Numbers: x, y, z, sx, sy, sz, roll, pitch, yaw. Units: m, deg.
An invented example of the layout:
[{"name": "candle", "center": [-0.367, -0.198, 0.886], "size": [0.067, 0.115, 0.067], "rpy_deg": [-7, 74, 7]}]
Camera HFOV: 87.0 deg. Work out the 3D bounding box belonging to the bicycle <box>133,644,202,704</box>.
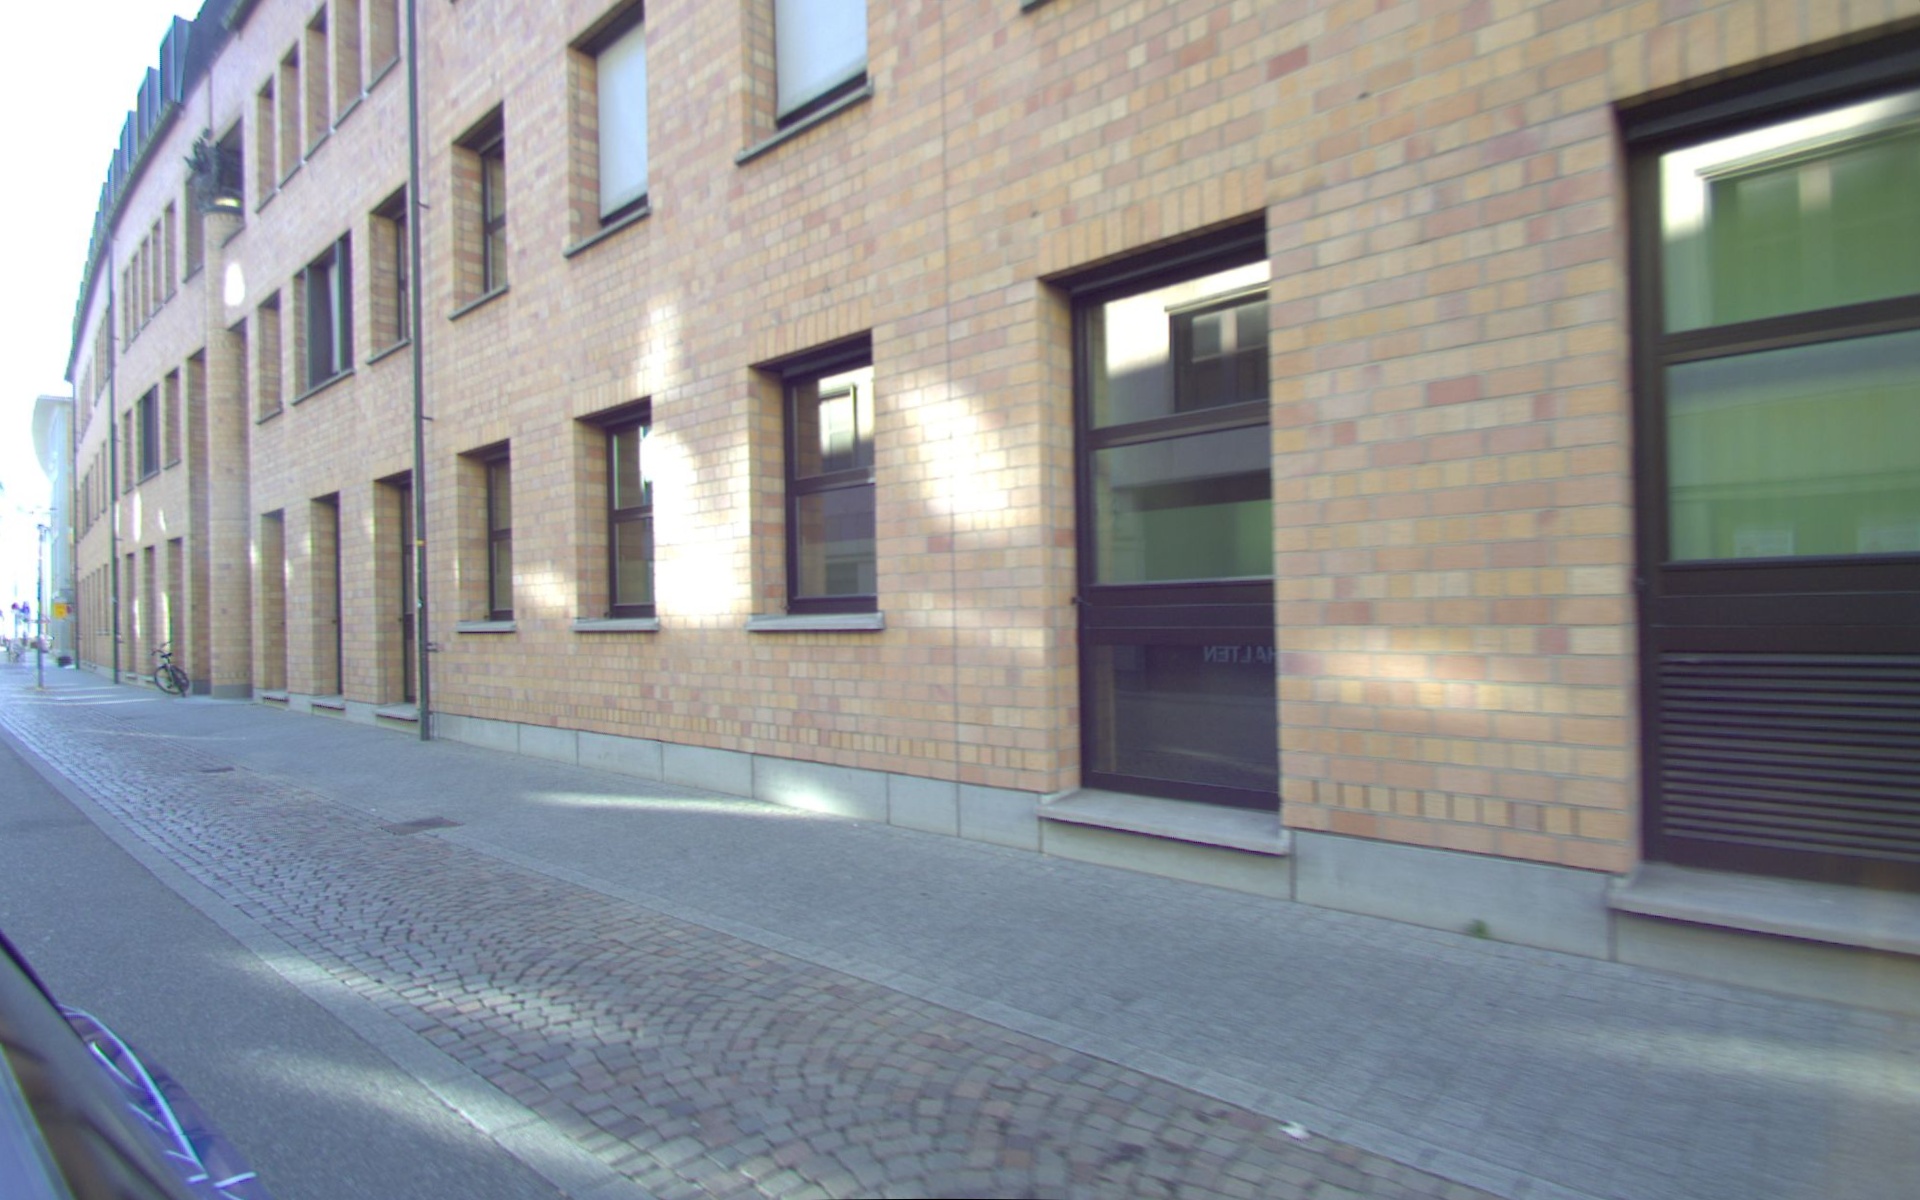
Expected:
[{"name": "bicycle", "center": [-16.777, 1.552, 21.416], "size": [1.800, 1.171, 0.626], "rpy_deg": [-3, 1, 36]}]
